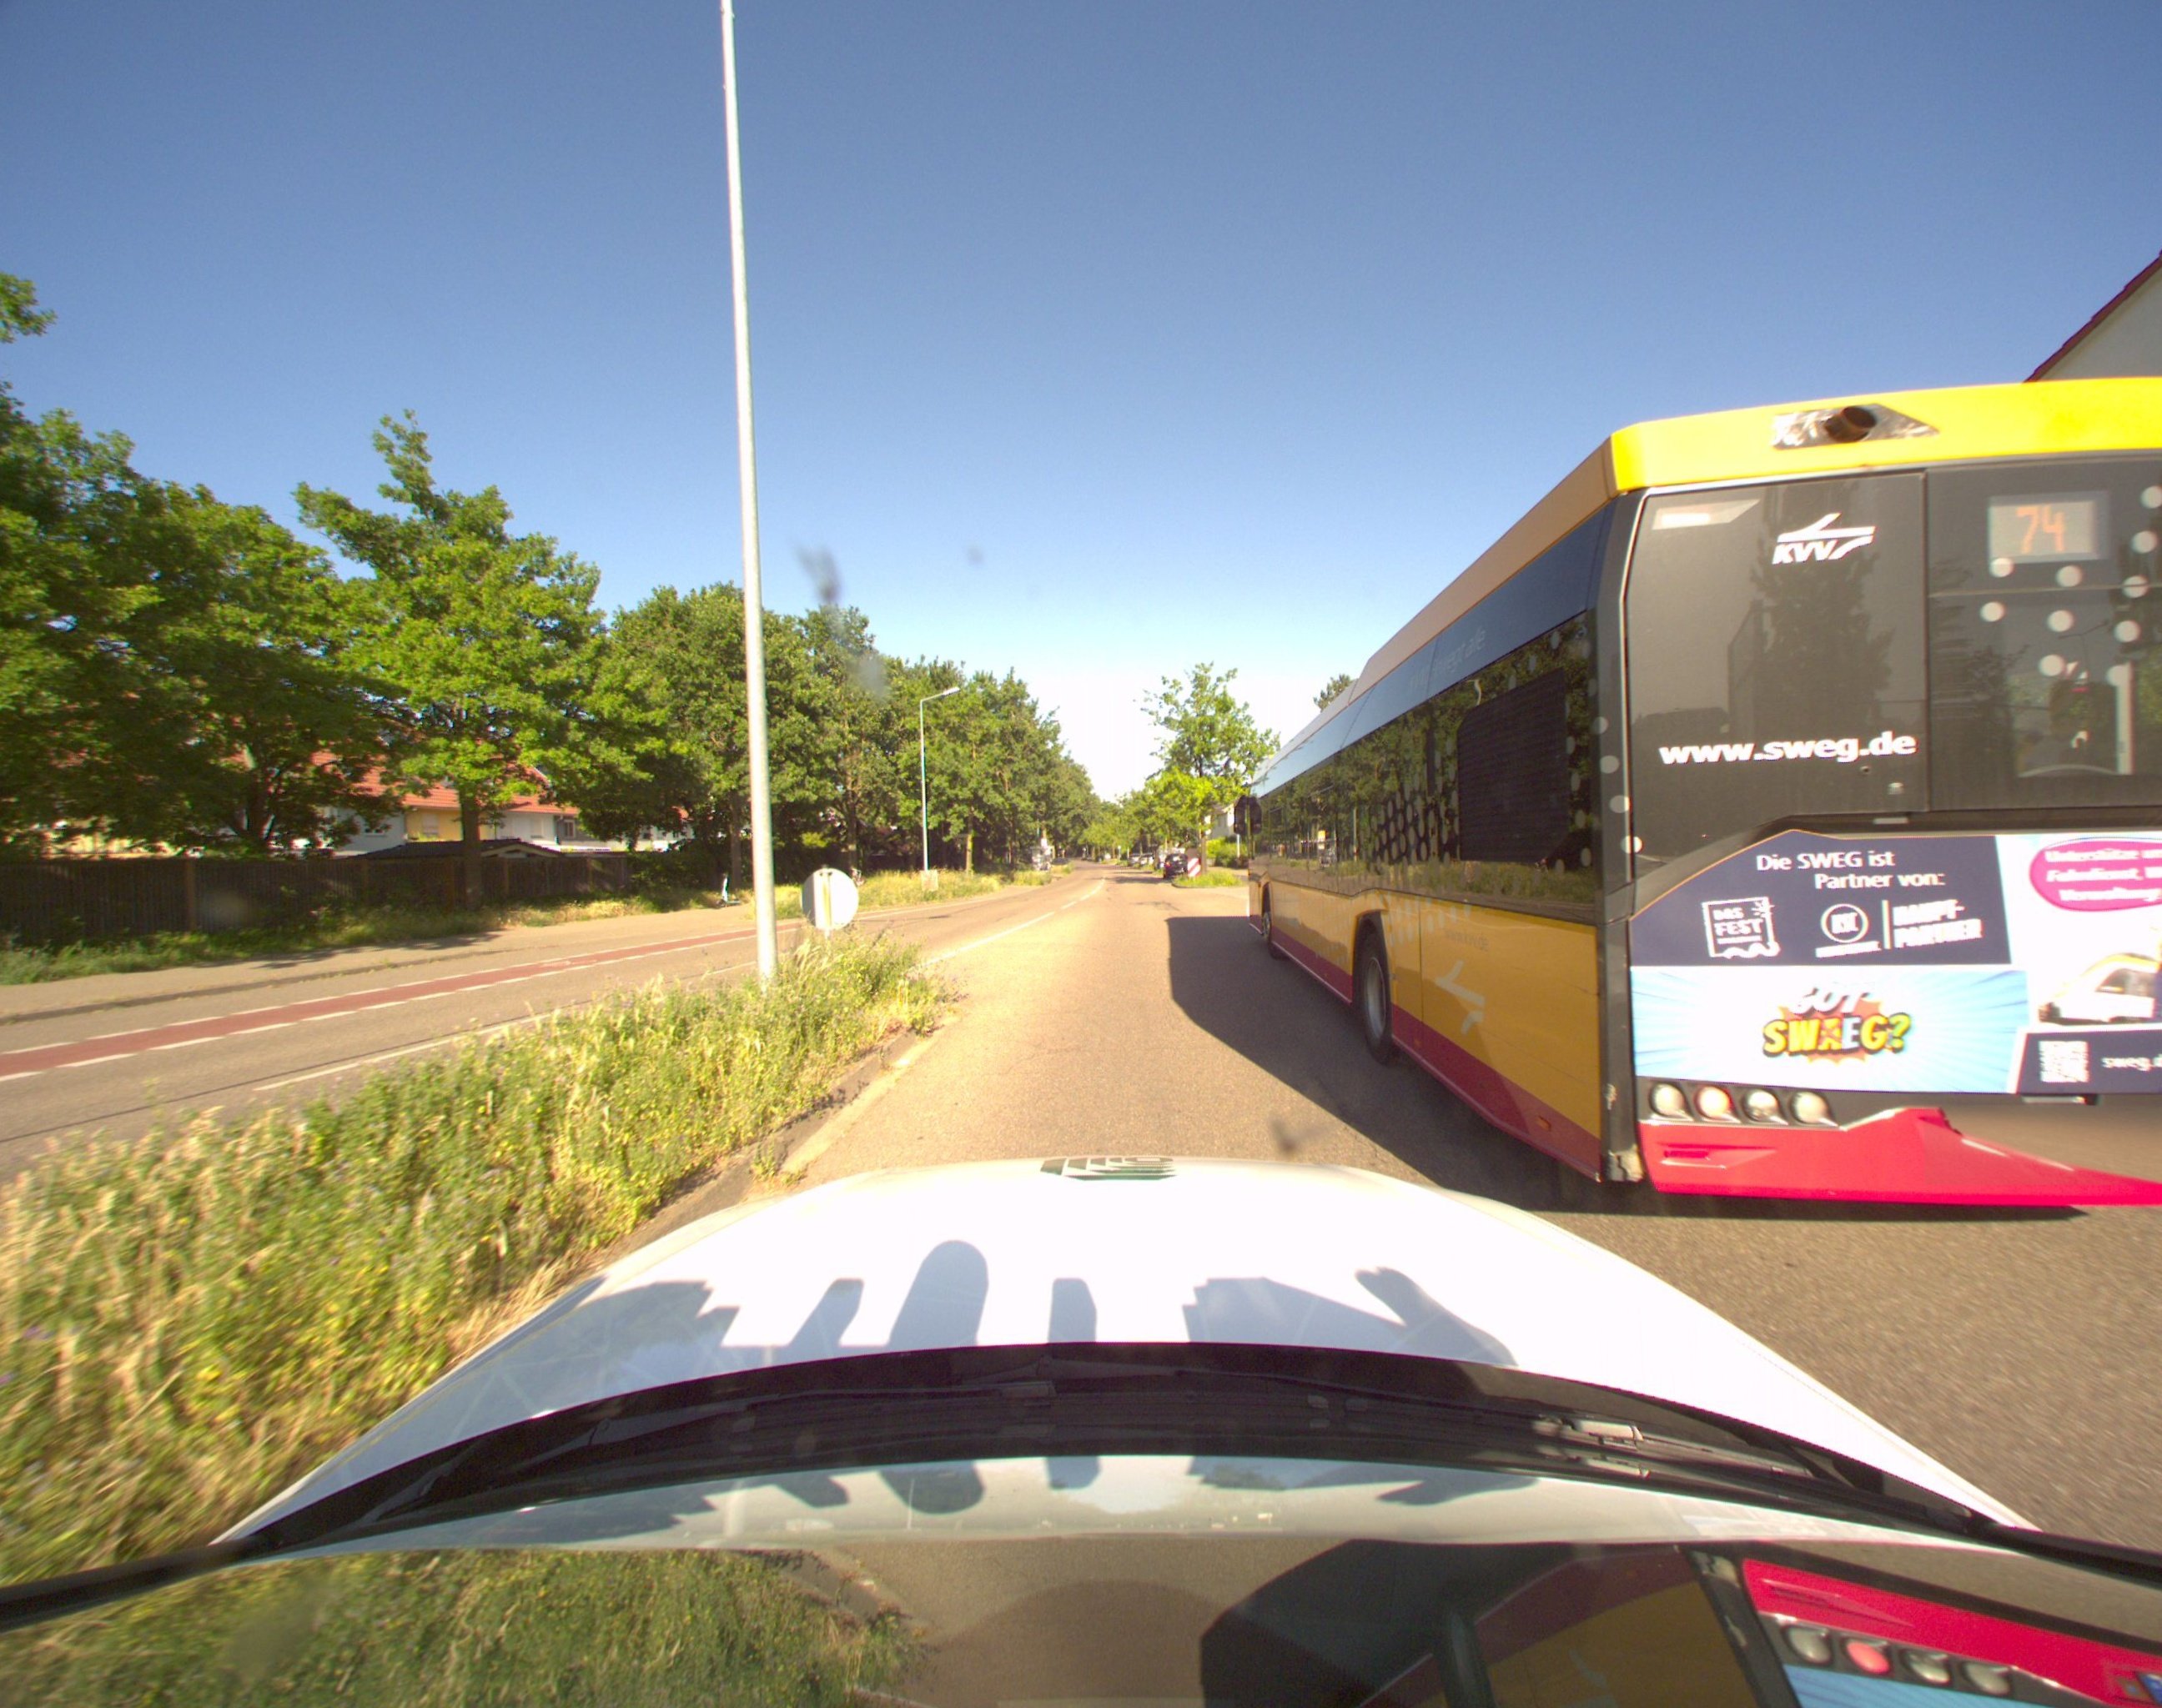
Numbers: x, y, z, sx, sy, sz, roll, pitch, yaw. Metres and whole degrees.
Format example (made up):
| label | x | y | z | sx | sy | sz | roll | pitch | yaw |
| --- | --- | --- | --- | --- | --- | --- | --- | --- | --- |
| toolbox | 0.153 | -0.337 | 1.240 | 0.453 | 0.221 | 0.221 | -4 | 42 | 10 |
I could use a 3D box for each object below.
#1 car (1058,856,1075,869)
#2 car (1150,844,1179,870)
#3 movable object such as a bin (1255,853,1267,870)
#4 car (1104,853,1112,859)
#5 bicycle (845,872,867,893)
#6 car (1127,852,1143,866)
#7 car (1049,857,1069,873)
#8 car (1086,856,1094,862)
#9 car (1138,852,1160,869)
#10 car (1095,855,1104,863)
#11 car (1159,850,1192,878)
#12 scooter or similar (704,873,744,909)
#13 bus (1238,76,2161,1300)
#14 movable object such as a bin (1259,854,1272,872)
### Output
| label | x | y | z | sx | sy | sz | roll | pitch | yaw |
| --- | --- | --- | --- | --- | --- | --- | --- | --- | --- |
| car | -1.845 | 1.037 | 99.662 | 1.988 | 1.556 | 3.997 | -1 | 0 | -2 |
| car | 6.762 | 0.262 | 65.990 | 1.829 | 1.971 | 4.758 | -2 | 0 | 0 |
| movable object such as a bin | 11.291 | 0.477 | 50.970 | 0.601 | 1.069 | 0.567 | -2 | 0 | 1 |
| car | 6.716 | 0.556 | 204.003 | 1.928 | 1.454 | 3.998 | -2 | 0 | -1 |
| bicycle | -11.627 | 1.460 | 42.096 | 0.503 | 1.053 | 1.881 | -2 | 0 | 3 |
| car | 7.198 | 0.662 | 108.648 | 1.927 | 1.742 | 4.000 | -2 | 0 | 0 |
| car | -2.175 | 1.089 | 81.859 | 1.930 | 1.479 | 3.998 | -2 | 0 | -1 |
| car | 2.258 | 1.187 | 202.749 | 1.928 | 1.454 | 3.998 | -2 | 0 | -1 |
| car | 7.146 | 0.654 | 86.089 | 1.929 | 1.704 | 4.000 | -2 | 0 | 0 |
| car | 4.083 | 1.085 | 177.887 | 1.927 | 1.542 | 4.000 | -2 | 0 | 0 |
| car | 5.793 | 0.583 | 50.368 | 1.666 | 1.578 | 3.754 | -4 | 0 | 2 |
| scooter or similar | -13.400 | 1.376 | 30.589 | 0.534 | 1.218 | 1.420 | 0 | 1 | 19 |
| bus | 3.510 | -0.416 | 8.497 | 2.742 | 3.458 | 12.423 | -3 | -1 | 7 |
| movable object such as a bin | 11.350 | 0.534 | 50.162 | 0.601 | 1.069 | 0.646 | -2 | 0 | 1 |
